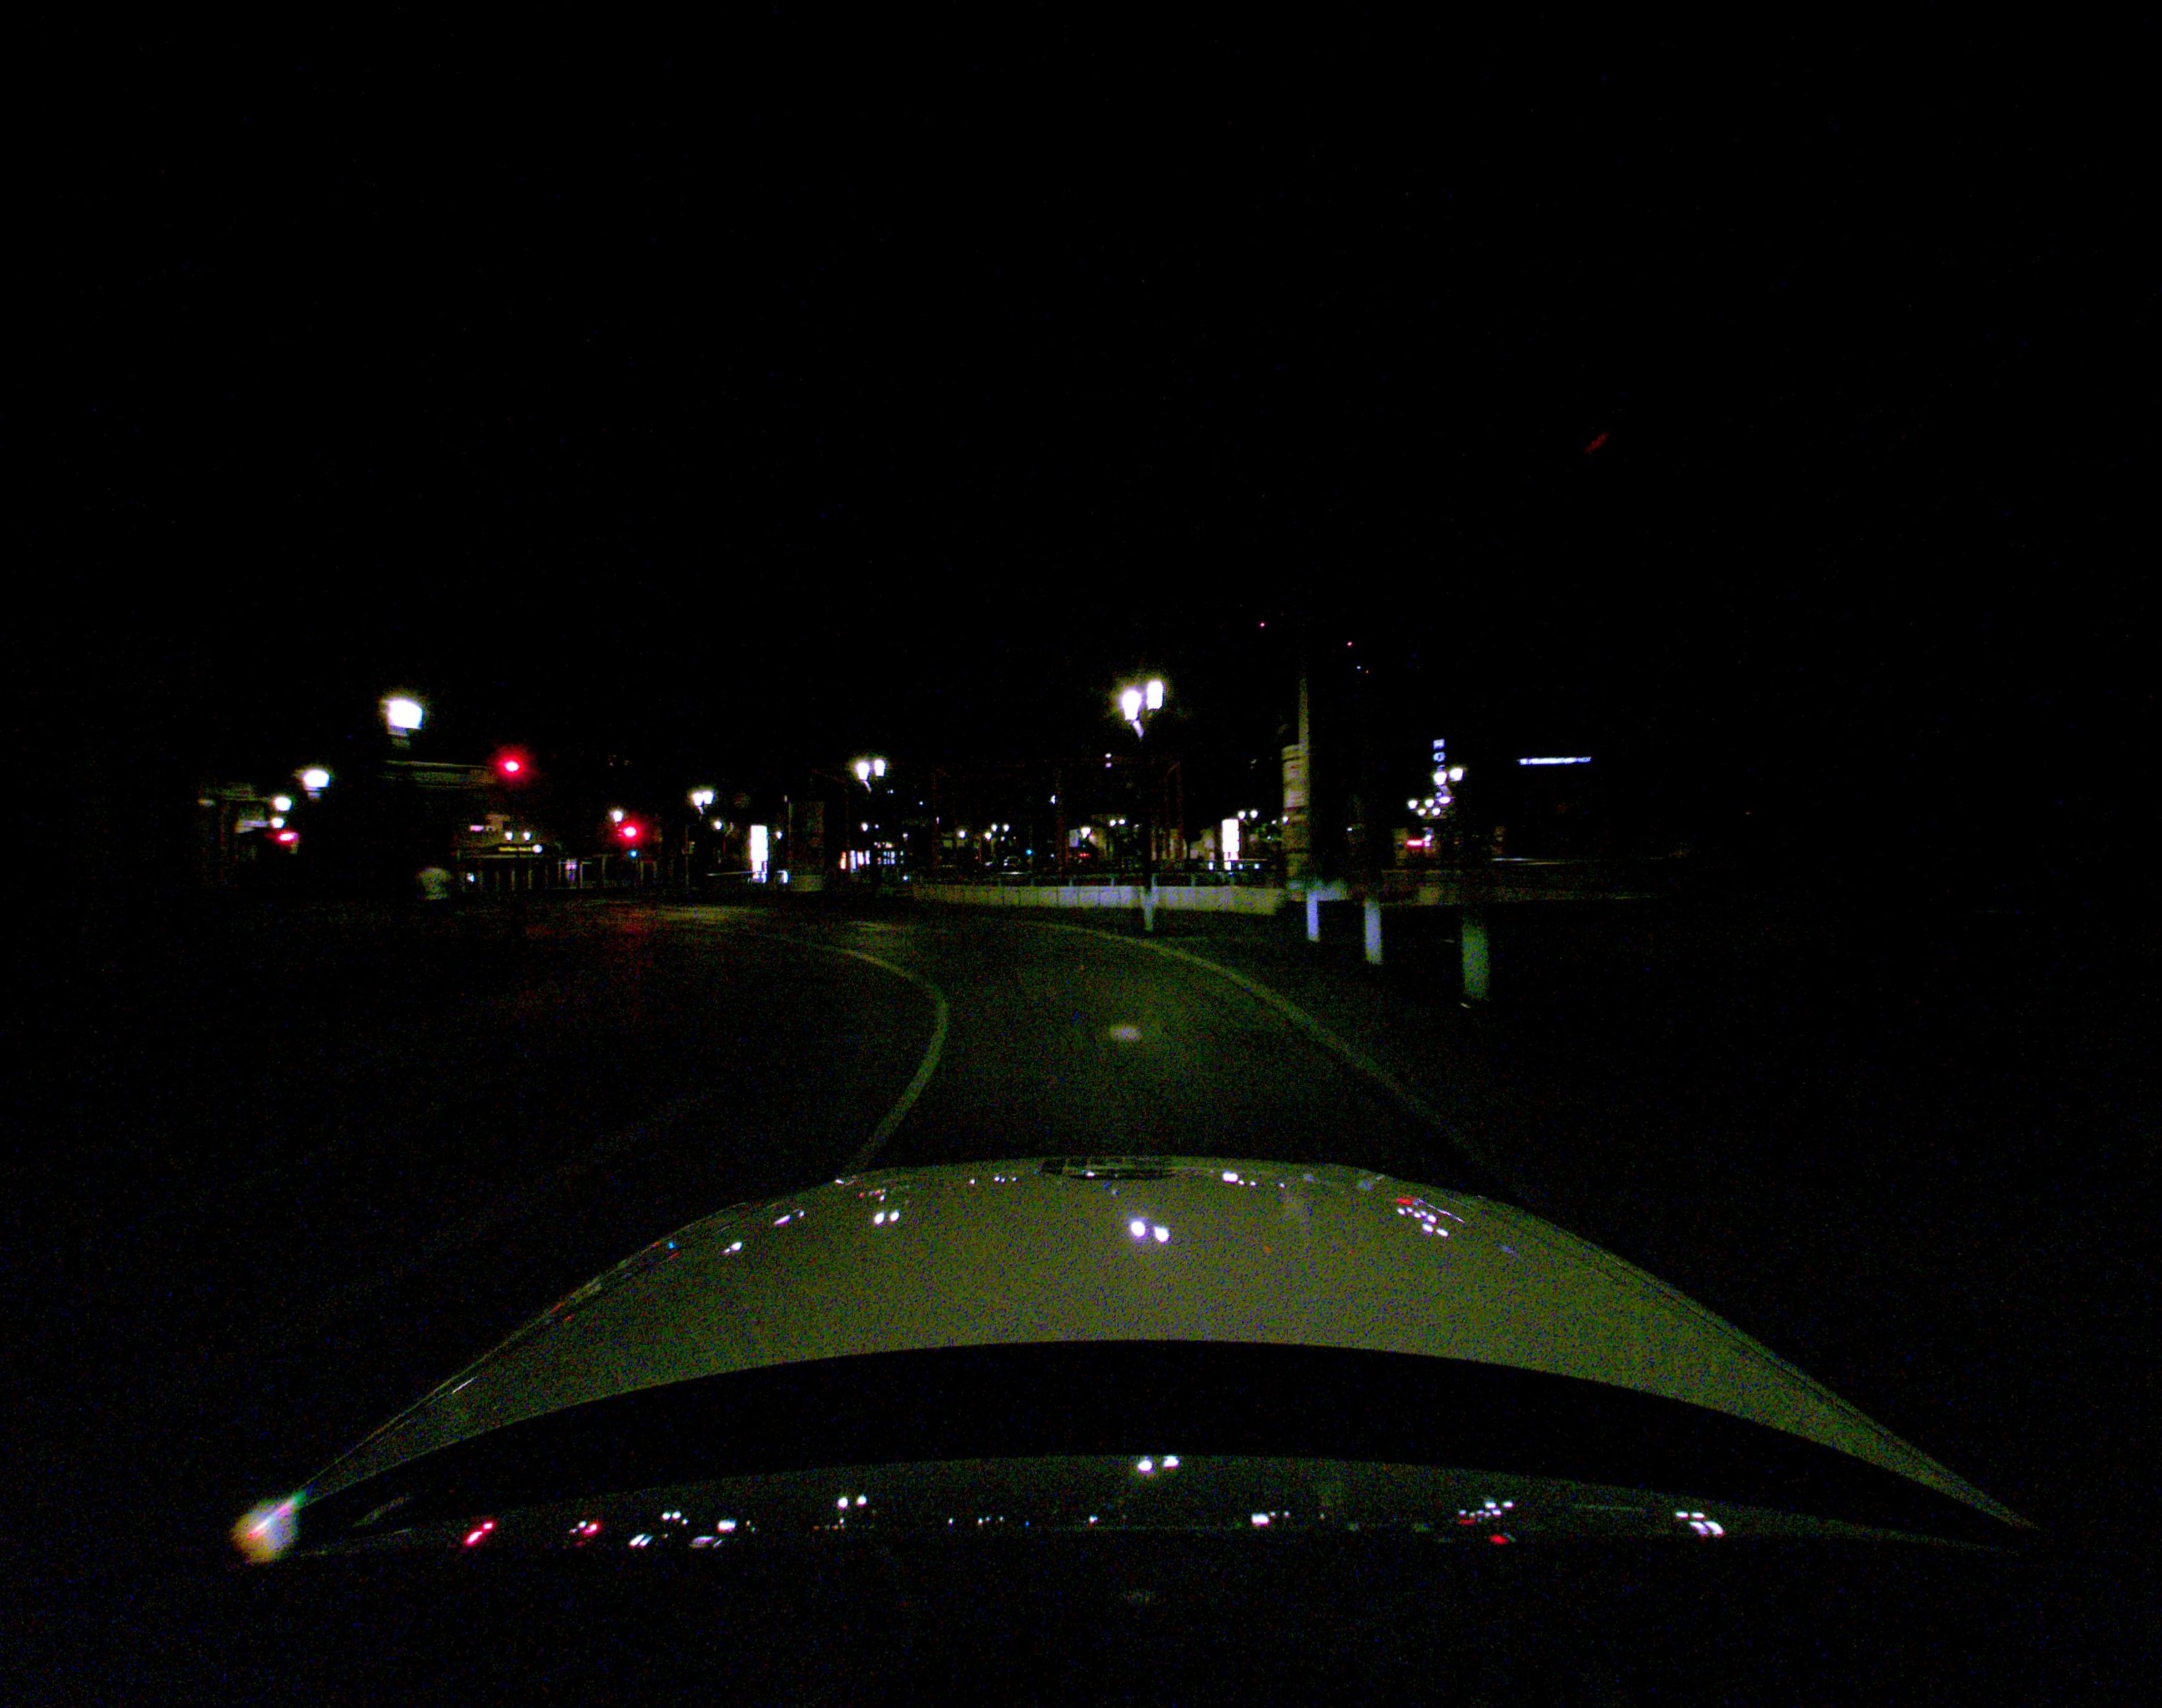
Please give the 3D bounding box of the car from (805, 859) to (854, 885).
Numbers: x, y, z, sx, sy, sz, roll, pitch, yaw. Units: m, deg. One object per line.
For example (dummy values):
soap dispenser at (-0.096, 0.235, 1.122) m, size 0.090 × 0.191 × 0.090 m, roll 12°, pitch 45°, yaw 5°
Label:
car at (-16.448, 1.148, 53.414) m, size 1.989 × 1.574 × 4.324 m, roll -2°, pitch 0°, yaw -3°

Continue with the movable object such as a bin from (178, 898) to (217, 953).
movable object such as a bin at (-16.968, 1.365, 15.649) m, size 0.552 × 0.990 × 0.501 m, roll -2°, pitch 0°, yaw 43°

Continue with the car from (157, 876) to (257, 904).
car at (-58.459, 2.413, 54.529) m, size 4.304 × 1.574 × 1.998 m, roll -3°, pitch -1°, yaw -3°

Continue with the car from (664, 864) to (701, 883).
car at (-35.418, 1.735, 72.382) m, size 2.011 × 1.574 × 3.610 m, roll -1°, pitch 0°, yaw -42°

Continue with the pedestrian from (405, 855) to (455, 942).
pedestrian at (-14.000, 0.942, 17.512) m, size 0.683 × 1.822 × 0.730 m, roll -2°, pitch -2°, yaw 45°
